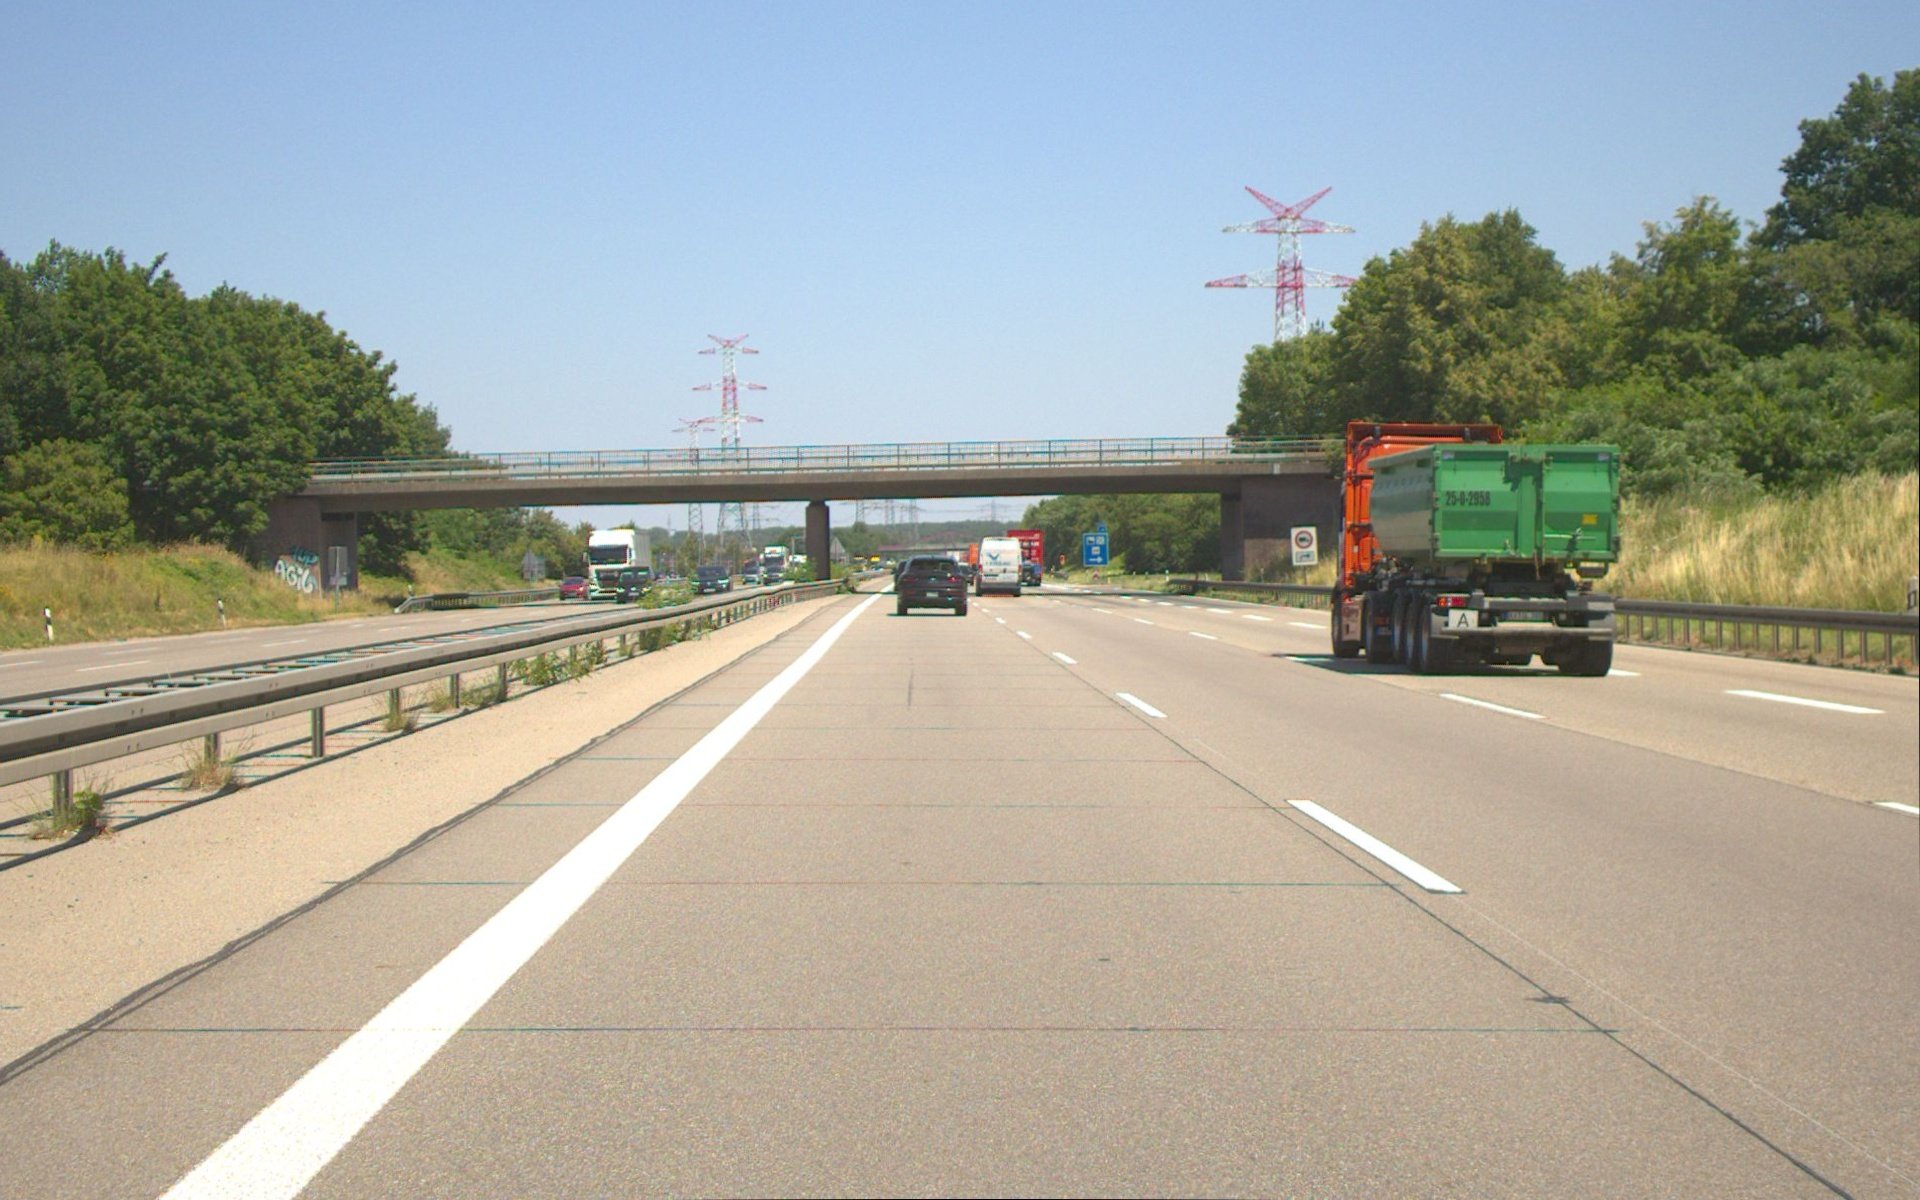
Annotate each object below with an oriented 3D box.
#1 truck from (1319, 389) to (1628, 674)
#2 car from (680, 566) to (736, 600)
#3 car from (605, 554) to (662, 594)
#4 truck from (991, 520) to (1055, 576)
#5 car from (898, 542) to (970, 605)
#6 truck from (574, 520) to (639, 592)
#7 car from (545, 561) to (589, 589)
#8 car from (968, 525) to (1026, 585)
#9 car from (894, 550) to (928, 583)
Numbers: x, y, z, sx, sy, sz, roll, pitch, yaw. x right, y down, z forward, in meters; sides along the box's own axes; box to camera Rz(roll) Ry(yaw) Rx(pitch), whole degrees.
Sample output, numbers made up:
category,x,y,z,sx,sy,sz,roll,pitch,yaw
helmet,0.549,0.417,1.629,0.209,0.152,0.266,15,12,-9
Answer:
category,x,y,z,sx,sy,sz,roll,pitch,yaw
truck,7.546,-1.013,52.409,2.681,3.785,12.479,1,1,-1
car,-11.558,-0.809,158.110,2.228,1.419,5.300,-3,1,-1
car,-15.671,-1.275,165.197,2.228,1.806,5.300,-3,1,-1
truck,4.573,-3.852,253.464,4.332,3.928,16.078,1,1,0
car,-0.764,-0.771,98.696,1.993,1.744,4.000,1,1,-1
truck,-20.612,-2.569,200.640,2.949,3.946,6.953,-3,1,-1
car,-24.799,-1.602,216.894,2.228,1.605,4.788,-3,1,-1
car,1.734,-2.130,163.070,2.621,2.750,6.096,1,1,-1
car,-2.680,-1.813,186.268,1.794,1.744,4.000,1,1,-1
